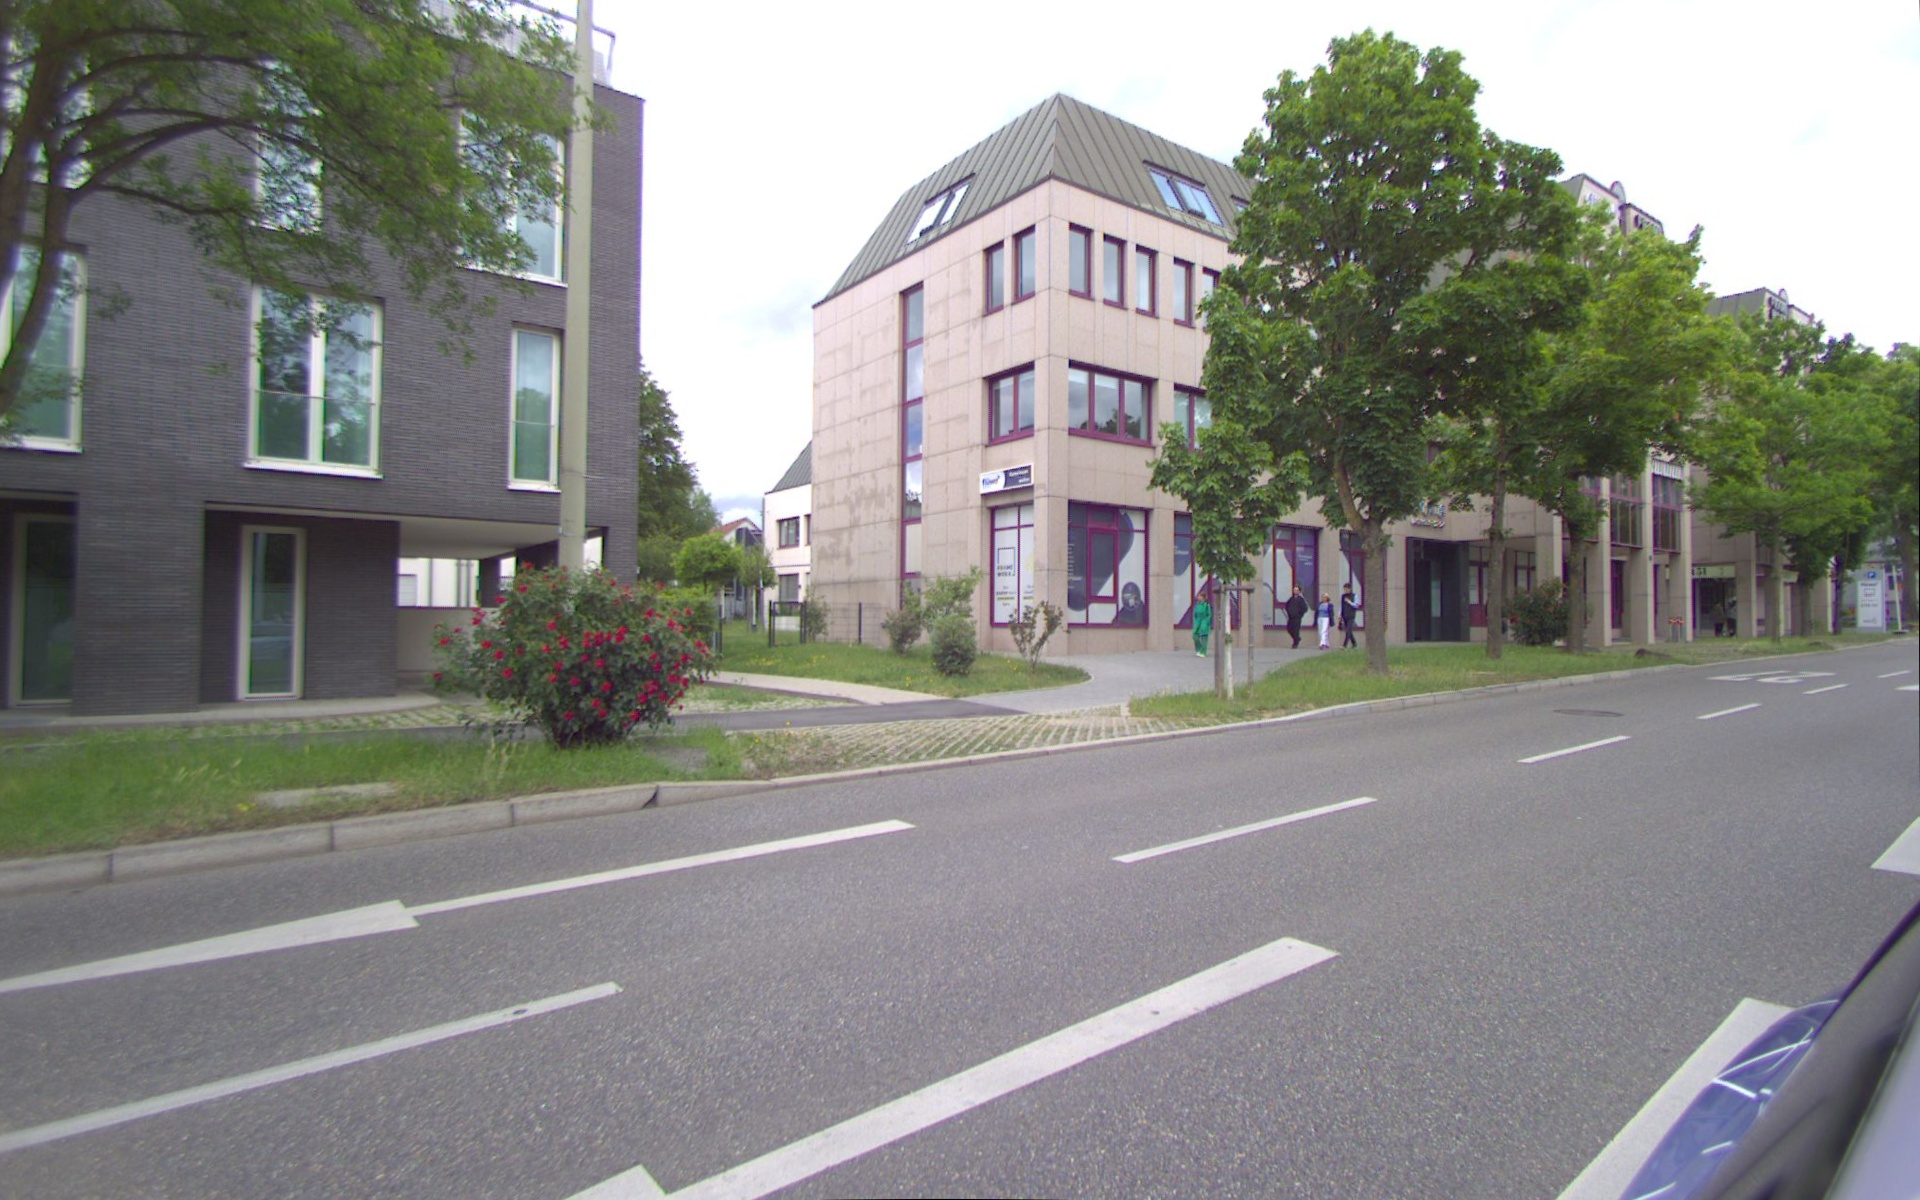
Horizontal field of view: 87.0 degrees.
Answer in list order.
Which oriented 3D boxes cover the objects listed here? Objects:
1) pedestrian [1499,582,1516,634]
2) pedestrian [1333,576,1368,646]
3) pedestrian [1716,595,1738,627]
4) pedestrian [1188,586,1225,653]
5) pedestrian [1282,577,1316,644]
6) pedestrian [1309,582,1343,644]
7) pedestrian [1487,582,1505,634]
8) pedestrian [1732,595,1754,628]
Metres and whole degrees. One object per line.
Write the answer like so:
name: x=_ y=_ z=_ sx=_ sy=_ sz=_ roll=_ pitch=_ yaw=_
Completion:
pedestrian: x=18.222 y=0.261 z=33.685 sx=0.349 sy=1.715 sz=0.380 roll=0 pitch=-1 yaw=-38
pedestrian: x=10.461 y=0.285 z=27.109 sx=0.665 sy=1.828 sz=0.642 roll=0 pitch=-1 yaw=-41
pedestrian: x=34.360 y=0.485 z=45.321 sx=0.510 sy=1.422 sz=0.667 roll=0 pitch=0 yaw=-39
pedestrian: x=5.838 y=0.456 z=23.955 sx=0.665 sy=1.537 sz=0.496 roll=0 pitch=2 yaw=-41
pedestrian: x=9.418 y=0.281 z=28.101 sx=0.665 sy=1.828 sz=0.642 roll=0 pitch=-1 yaw=-41
pedestrian: x=10.018 y=0.349 z=27.696 sx=0.665 sy=1.668 sz=0.642 roll=0 pitch=-1 yaw=-41
pedestrian: x=17.992 y=0.259 z=33.982 sx=0.393 sy=1.715 sz=0.400 roll=0 pitch=-1 yaw=-38
pedestrian: x=34.457 y=0.492 z=44.531 sx=0.629 sy=1.422 sz=0.607 roll=0 pitch=0 yaw=-38
